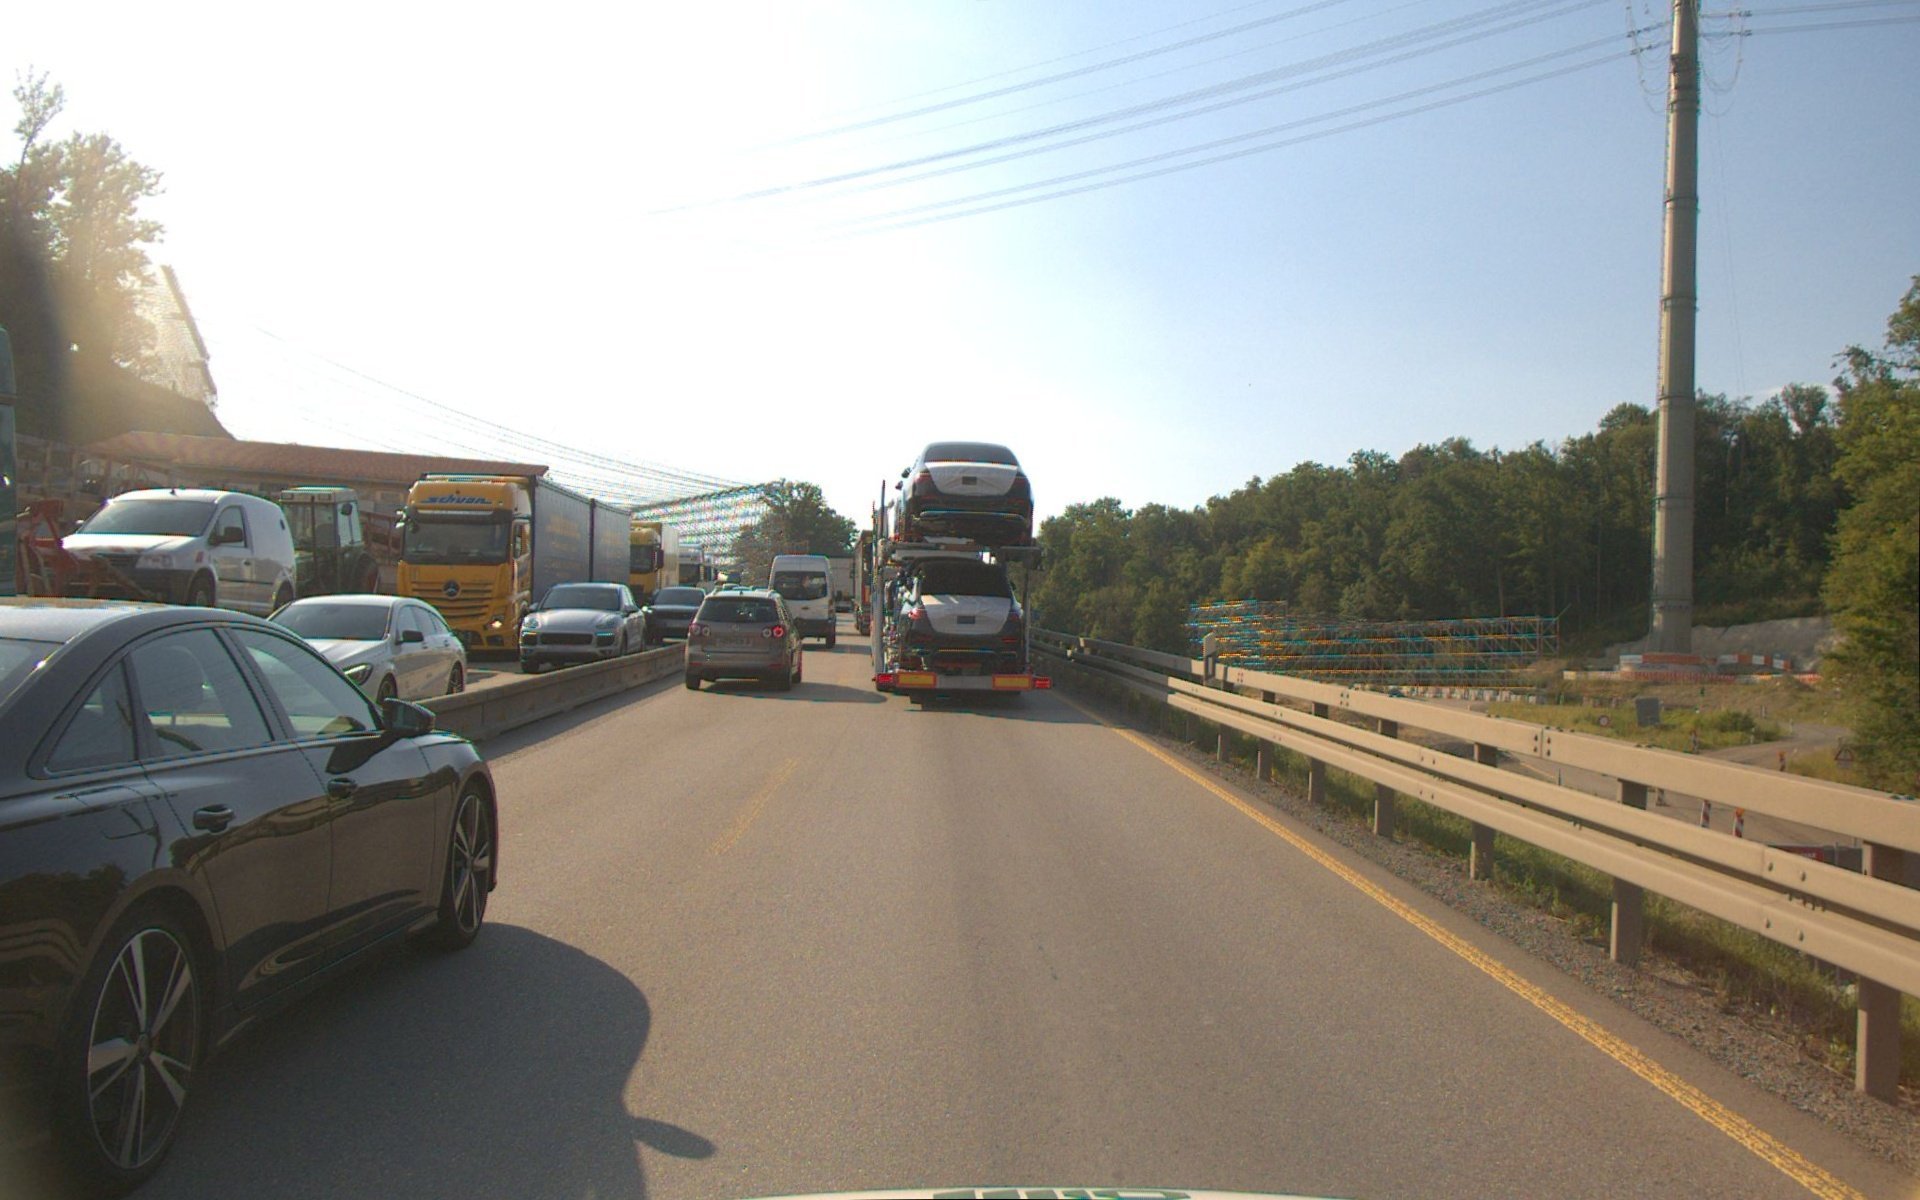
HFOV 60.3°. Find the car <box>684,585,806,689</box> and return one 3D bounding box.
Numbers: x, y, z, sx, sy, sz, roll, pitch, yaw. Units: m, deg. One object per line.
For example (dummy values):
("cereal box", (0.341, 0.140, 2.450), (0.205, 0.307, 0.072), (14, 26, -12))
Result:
("car", (-3.549, 0.604, 27.886), (1.667, 1.615, 4.144), (1, -1, -3))

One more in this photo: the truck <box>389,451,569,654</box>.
("truck", (-10.722, -0.950, 37.469), (2.648, 4.213, 5.789), (1, -1, -4))

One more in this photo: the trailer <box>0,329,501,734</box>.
("trailer", (-9.923, -0.612, 23.842), (2.693, 3.882, 16.039), (0, 0, -2))

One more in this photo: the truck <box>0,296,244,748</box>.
("truck", (-9.629, -0.654, 15.808), (2.693, 3.872, 7.108), (0, 0, -2))

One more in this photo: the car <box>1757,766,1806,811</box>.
("car", (34.829, 7.971, 70.085), (1.498, 1.486, 4.257), (0, -1, 32))

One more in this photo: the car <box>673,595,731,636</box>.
("car", (-9.979, 0.619, 64.182), (1.753, 1.524, 4.721), (1, -1, -3))

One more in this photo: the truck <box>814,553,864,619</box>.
("truck", (-9.391, -1.074, 127.316), (3.577, 4.758, 11.684), (1, 1, -5))

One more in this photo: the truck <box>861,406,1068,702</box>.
("truck", (-0.001, -0.594, 25.650), (2.812, 4.050, 5.769), (1, -1, -1))

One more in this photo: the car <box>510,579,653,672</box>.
("car", (-7.317, 0.504, 32.469), (1.920, 1.673, 4.845), (1, -1, -3))

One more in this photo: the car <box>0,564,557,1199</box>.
("car", (-2.877, 0.702, 5.412), (1.901, 1.506, 5.220), (0, -1, -1))

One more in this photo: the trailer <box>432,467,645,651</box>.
("trailer", (-11.293, -0.811, 46.461), (2.661, 4.207, 16.738), (1, -1, -4))

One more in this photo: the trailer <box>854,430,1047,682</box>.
("trailer", (-0.633, -0.597, 34.517), (2.818, 4.064, 15.262), (1, -1, -5))

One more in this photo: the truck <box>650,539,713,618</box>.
("truck", (-15.525, -1.050, 93.121), (2.755, 4.040, 13.871), (1, -1, -7))

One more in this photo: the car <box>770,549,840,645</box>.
("car", (-4.590, -0.053, 49.422), (1.940, 2.731, 4.143), (1, -1, -4))

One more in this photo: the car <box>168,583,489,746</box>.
("car", (-6.765, 0.644, 18.323), (1.766, 1.548, 4.815), (-1, -1, -1))

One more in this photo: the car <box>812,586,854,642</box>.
("car", (-5.050, 0.569, 65.540), (1.499, 2.049, 3.995), (3, -1, -6))

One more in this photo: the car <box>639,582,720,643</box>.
("car", (-8.401, 0.394, 49.908), (1.889, 1.731, 4.688), (1, -1, -3))

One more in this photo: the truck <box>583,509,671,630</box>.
("truck", (-12.152, -1.039, 60.623), (2.641, 4.270, 4.393), (1, -1, -5))

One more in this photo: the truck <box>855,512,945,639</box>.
("truck", (-2.658, -1.003, 69.065), (3.165, 4.758, 11.684), (1, 1, -5))

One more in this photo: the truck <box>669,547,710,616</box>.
("truck", (-17.795, -1.149, 109.130), (2.397, 4.346, 6.310), (1, -1, -7))
